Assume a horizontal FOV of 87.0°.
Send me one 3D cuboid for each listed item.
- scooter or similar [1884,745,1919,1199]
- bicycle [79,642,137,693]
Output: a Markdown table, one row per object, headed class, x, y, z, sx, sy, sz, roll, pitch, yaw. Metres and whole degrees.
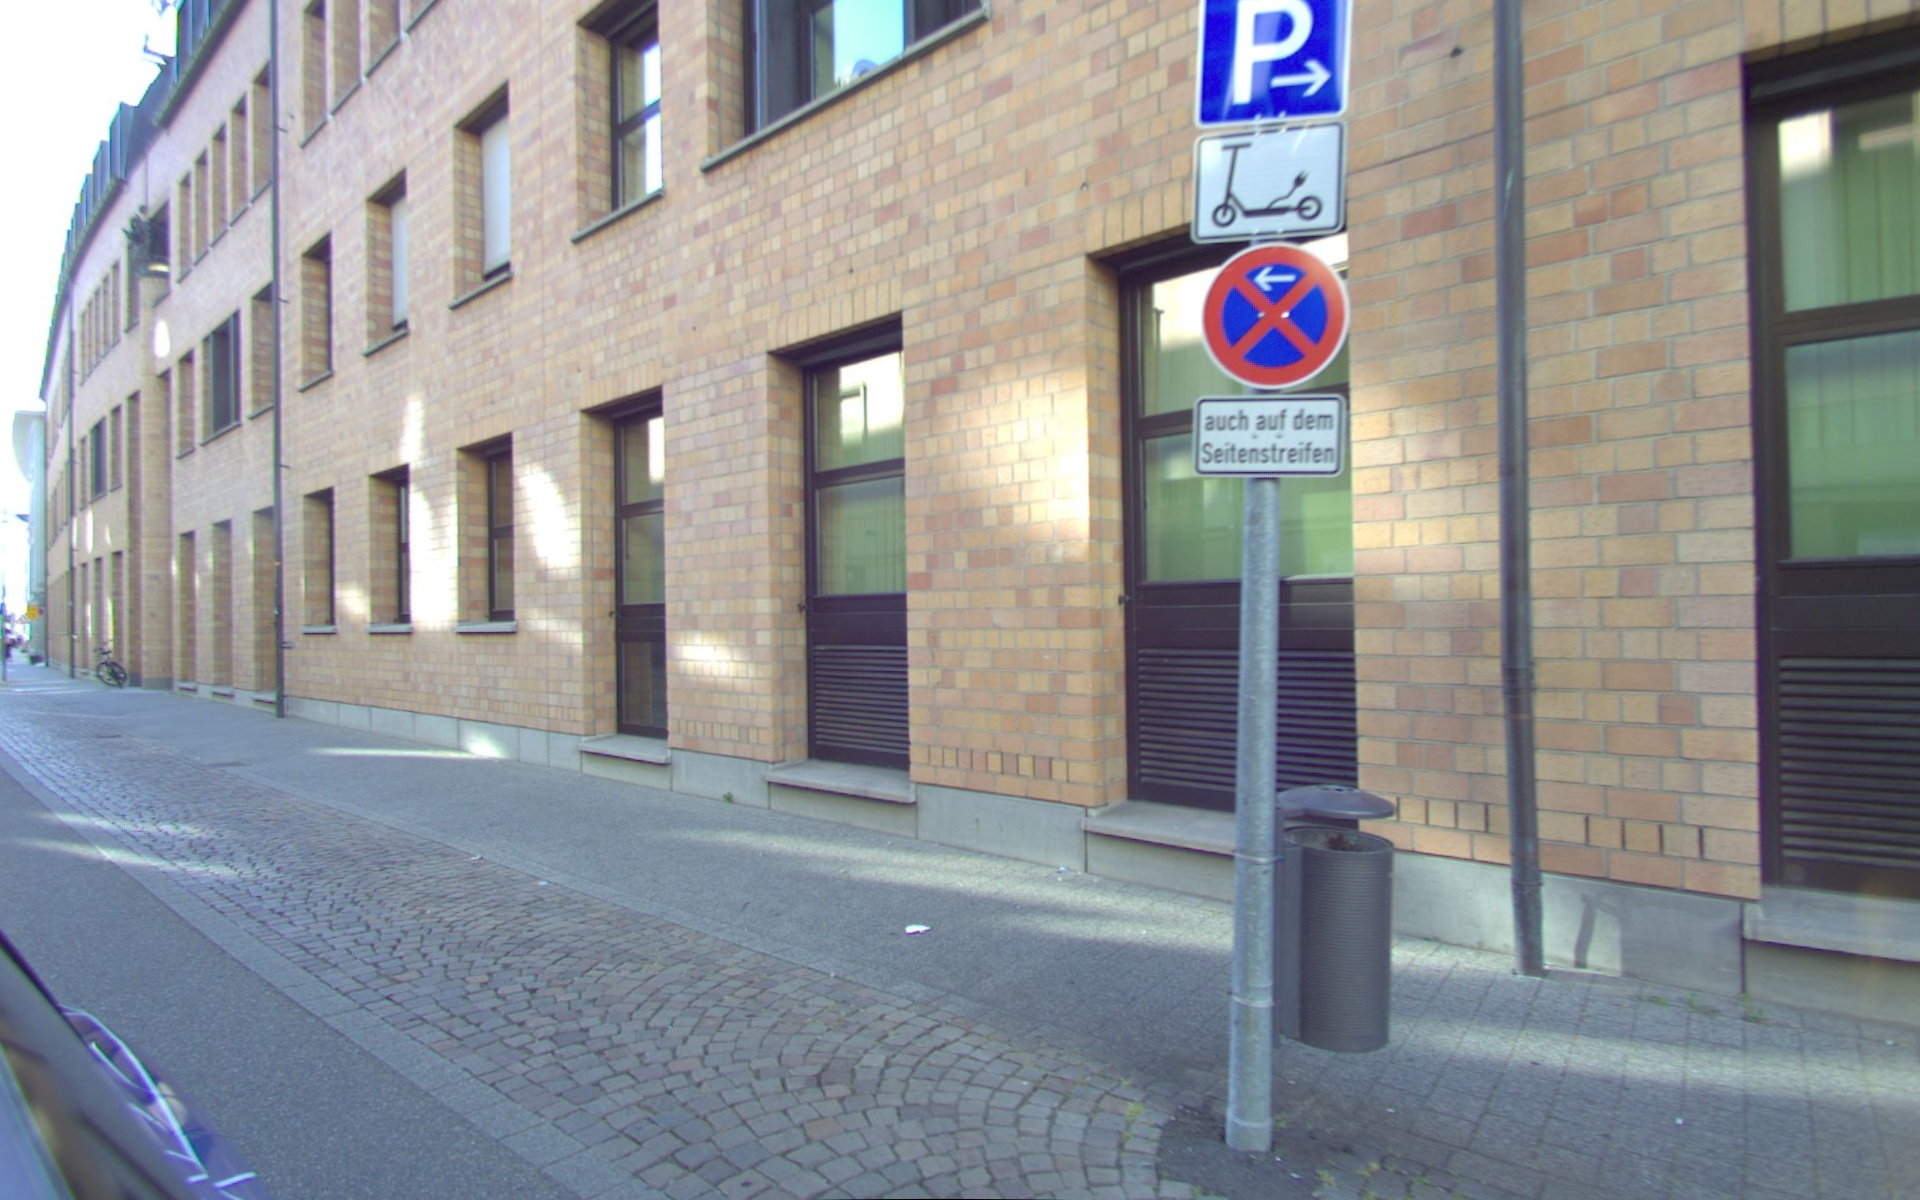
| class | x | y | z | sx | sy | sz | roll | pitch | yaw |
| --- | --- | --- | --- | --- | --- | --- | --- | --- | --- |
| scooter or similar | 2.304 | 0.869 | 1.365 | 0.688 | 1.227 | 1.361 | 0 | -2 | -23 |
| bicycle | -21.024 | 1.655 | 24.955 | 1.800 | 1.171 | 0.626 | -3 | 1 | 36 |
